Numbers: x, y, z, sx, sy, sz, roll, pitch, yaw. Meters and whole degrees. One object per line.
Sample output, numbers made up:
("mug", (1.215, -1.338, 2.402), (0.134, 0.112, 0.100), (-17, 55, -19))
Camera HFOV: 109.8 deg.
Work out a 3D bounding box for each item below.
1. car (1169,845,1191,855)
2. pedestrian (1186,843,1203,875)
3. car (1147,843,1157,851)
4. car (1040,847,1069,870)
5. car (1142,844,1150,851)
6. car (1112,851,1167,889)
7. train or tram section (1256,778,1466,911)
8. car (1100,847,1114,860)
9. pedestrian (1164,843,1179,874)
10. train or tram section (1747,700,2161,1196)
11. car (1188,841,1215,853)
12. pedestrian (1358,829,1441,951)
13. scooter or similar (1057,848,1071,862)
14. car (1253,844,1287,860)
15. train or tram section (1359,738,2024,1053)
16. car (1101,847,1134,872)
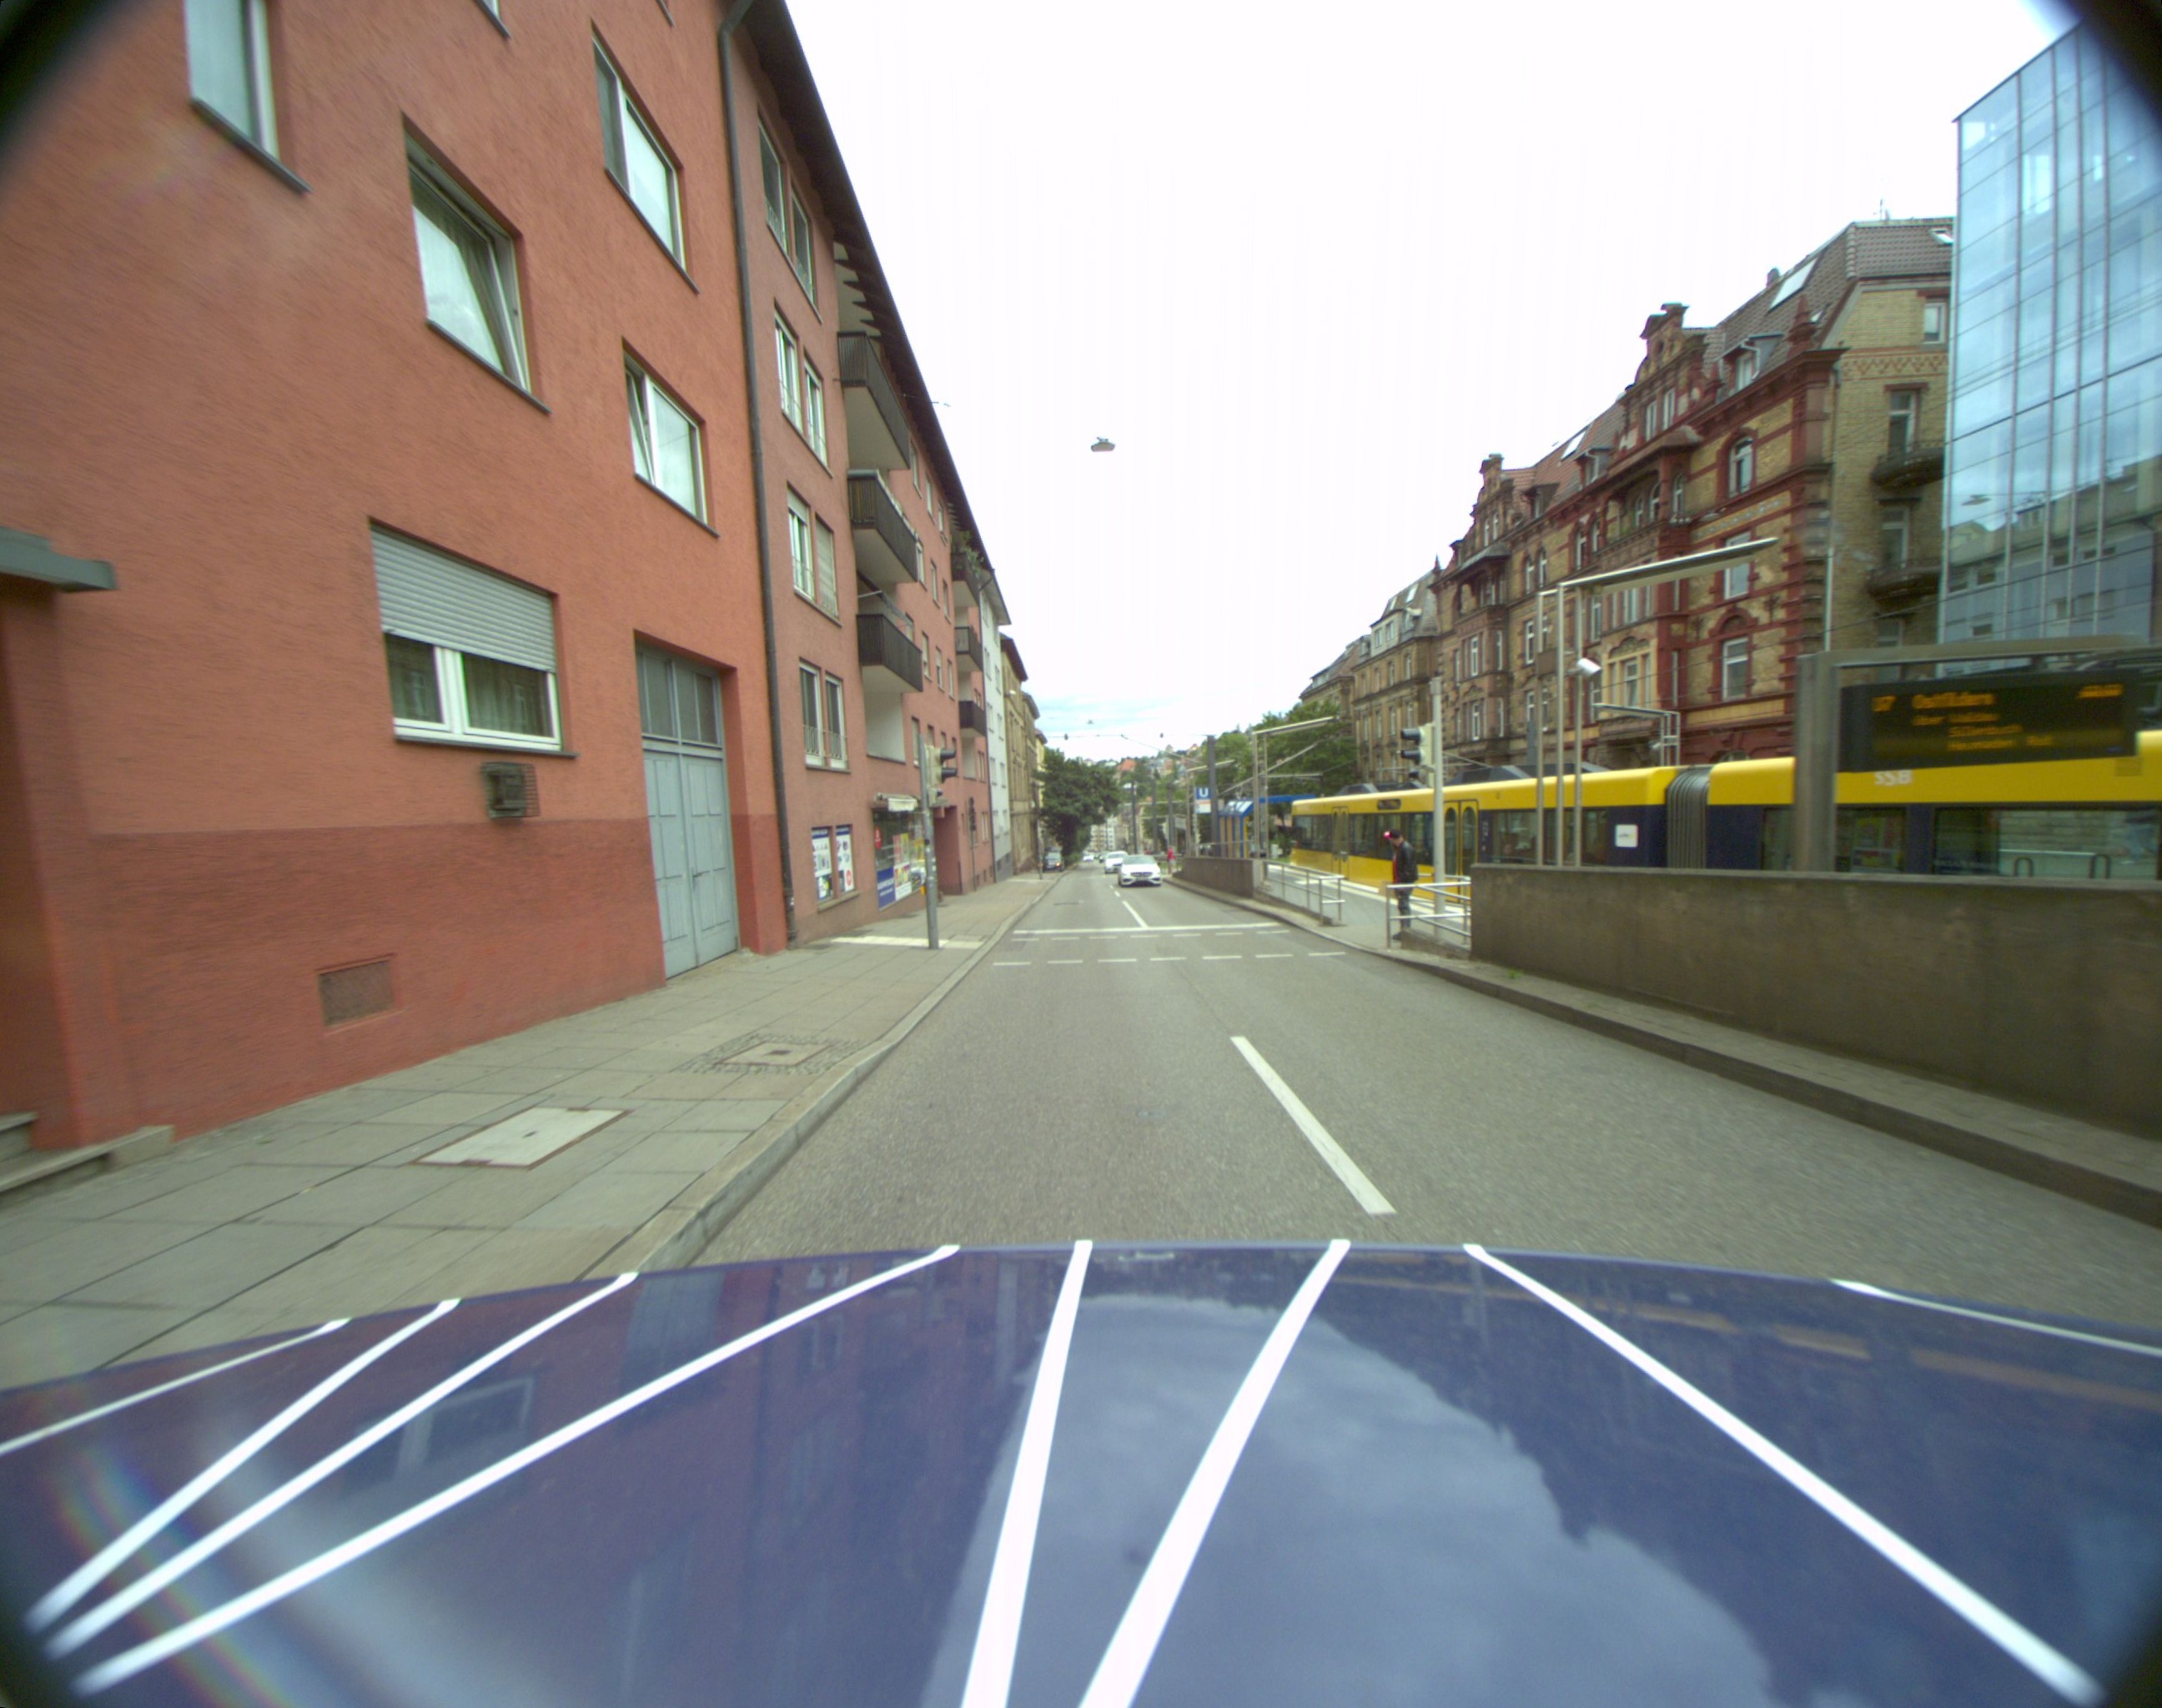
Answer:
("car", (19.577, -0.718, 149.819), (3.859, 1.803, 1.782), (-3, 1, -15))
("pedestrian", (6.055, 0.276, 40.480), (0.623, 1.685, 0.660), (-3, 1, -9))
("car", (20.371, -2.028, 217.702), (1.999, 2.002, 3.998), (-3, 0, -5))
("car", (-2.004, 0.323, 58.738), (1.862, 1.701, 4.308), (-1, 0, 2))
("car", (19.720, -2.106, 231.179), (1.998, 2.002, 4.000), (-3, 0, 2))
("car", (2.608, 0.683, 34.807), (1.999, 1.390, 4.228), (-5, 2, -2))
("train or tram section", (9.105, -0.455, 27.001), (2.957, 3.523, 12.394), (-3, 2, 1))
("car", (3.738, -0.145, 107.645), (1.881, 1.727, 4.000), (-3, 0, 2))
("pedestrian", (5.011, 0.259, 42.137), (0.680, 1.670, 0.685), (-3, 1, -2))
("train or tram section", (8.976, 0.734, 2.480), (2.957, 3.464, 12.213), (-2, 3, 0))
("car", (19.267, -1.086, 121.389), (3.862, 1.804, 1.781), (-3, 1, -23))
("pedestrian", (4.879, 0.528, 11.685), (0.818, 1.767, 0.802), (-3, 1, -6))
("scooter or similar", (-1.597, 0.127, 70.162), (1.199, 1.266, 0.629), (1, 1, -8))
("car", (23.207, -0.268, 93.300), (3.863, 1.678, 1.780), (-4, 1, -31))
("train or tram section", (9.062, 0.103, 14.638), (2.957, 3.453, 12.210), (-2, 4, 0))
("car", (2.490, 0.384, 52.966), (1.999, 1.479, 4.229), (-5, 0, 0))
